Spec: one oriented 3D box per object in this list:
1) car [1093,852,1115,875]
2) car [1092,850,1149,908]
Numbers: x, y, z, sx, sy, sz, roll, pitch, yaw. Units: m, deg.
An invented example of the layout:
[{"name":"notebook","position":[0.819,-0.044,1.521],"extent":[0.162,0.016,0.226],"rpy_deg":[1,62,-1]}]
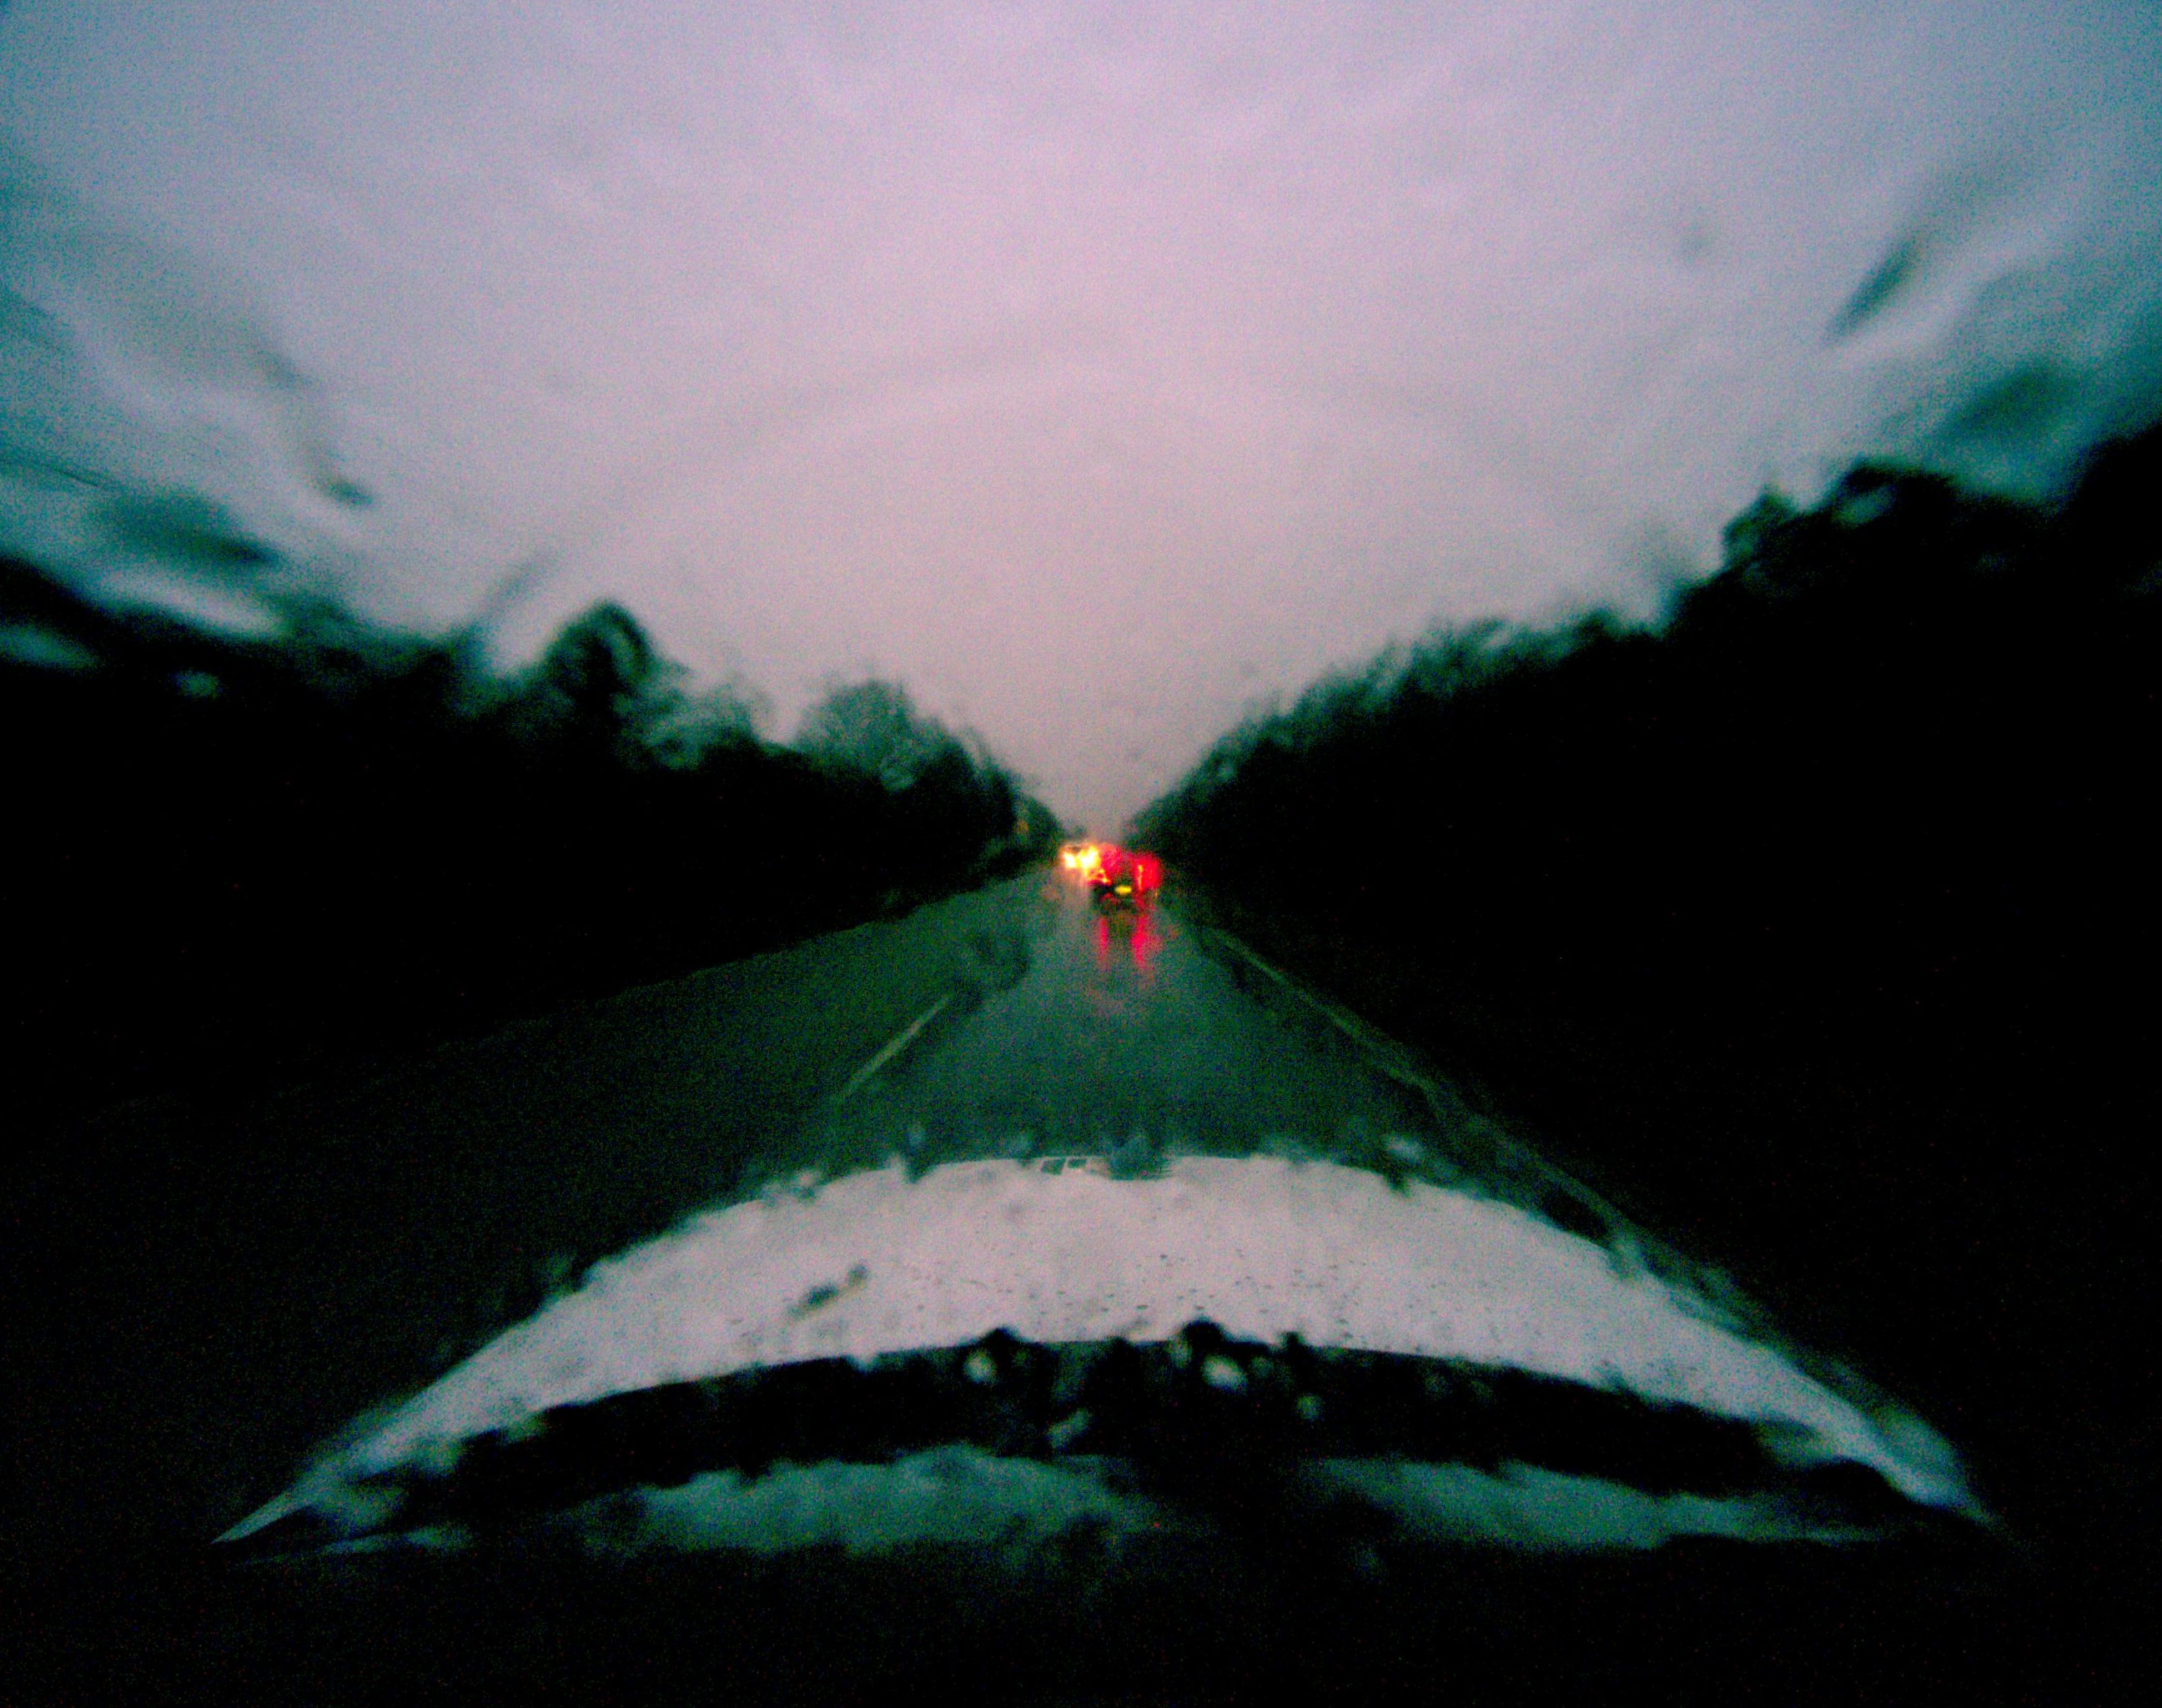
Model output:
[{"name":"car","position":[1.891,0.734,66.319],"extent":[1.727,1.779,4.001],"rpy_deg":[-1,0,1]},{"name":"car","position":[1.227,0.747,25.665],"extent":[1.642,1.672,3.515],"rpy_deg":[-1,0,2]}]
